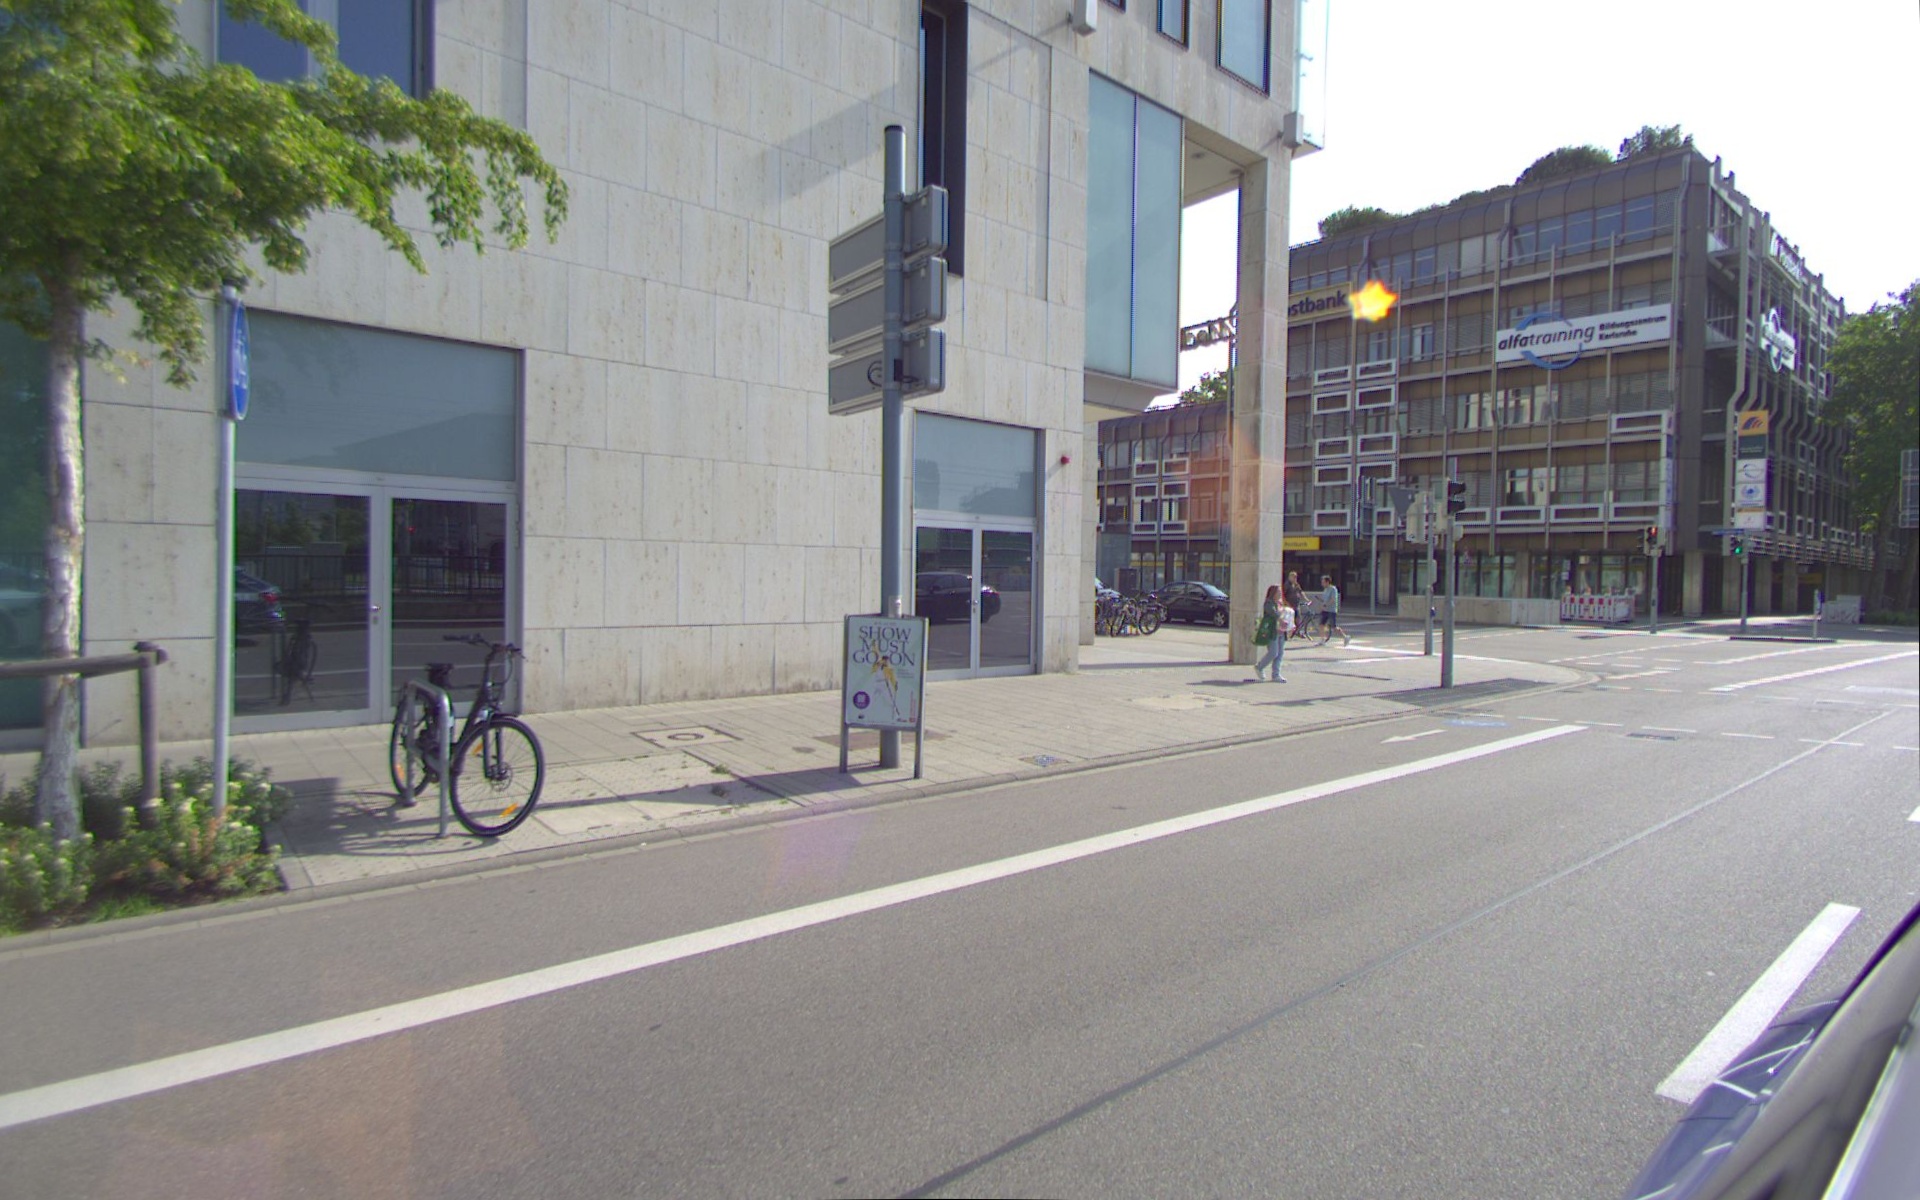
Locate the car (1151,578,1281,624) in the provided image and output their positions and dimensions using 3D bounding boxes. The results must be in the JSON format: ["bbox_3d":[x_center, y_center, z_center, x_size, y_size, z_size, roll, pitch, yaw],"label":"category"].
[{"bbox_3d":[8.386,-0.016,33.453,1.842,1.383,3.906,-1,2,-36],"label":"car"}]

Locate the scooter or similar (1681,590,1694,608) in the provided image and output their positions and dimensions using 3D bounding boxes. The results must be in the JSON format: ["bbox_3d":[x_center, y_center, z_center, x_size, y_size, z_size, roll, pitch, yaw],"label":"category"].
[{"bbox_3d":[33.948,-0.054,47.228,0.942,0.853,0.279,0,1,-40],"label":"scooter or similar"}]

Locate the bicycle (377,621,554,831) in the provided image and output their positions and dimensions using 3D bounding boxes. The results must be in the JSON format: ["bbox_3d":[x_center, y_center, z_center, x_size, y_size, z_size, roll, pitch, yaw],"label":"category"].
[{"bbox_3d":[-3.255,0.719,6.570,0.674,1.127,1.844,0,0,-38],"label":"bicycle"}]

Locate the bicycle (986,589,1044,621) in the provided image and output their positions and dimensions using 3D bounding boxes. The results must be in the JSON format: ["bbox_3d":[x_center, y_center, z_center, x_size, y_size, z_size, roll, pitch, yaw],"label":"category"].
[{"bbox_3d":[1.692,0.145,30.905,1.819,0.968,0.460,0,1,-31],"label":"bicycle"}]

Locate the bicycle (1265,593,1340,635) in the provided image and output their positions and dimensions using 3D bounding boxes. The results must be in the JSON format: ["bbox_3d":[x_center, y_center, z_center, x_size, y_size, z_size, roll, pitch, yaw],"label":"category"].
[{"bbox_3d":[8.968,0.348,26.541,0.601,1.030,1.806,0,2,-40],"label":"bicycle"}]

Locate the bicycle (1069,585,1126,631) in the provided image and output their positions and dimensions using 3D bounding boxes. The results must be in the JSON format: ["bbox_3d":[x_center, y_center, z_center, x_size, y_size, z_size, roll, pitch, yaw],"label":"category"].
[{"bbox_3d":[3.786,0.199,27.746,1.762,1.214,0.501,-1,2,-42],"label":"bicycle"}]

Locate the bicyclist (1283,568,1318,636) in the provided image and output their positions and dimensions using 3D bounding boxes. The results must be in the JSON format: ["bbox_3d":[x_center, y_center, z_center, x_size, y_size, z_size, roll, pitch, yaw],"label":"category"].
[{"bbox_3d":[8.934,0.033,26.581,0.572,1.759,0.636,0,1,-40],"label":"bicyclist"}]

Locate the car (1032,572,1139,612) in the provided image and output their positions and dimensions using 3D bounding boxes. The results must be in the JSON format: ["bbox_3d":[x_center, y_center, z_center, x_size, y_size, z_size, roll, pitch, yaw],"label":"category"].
[{"bbox_3d":[4.699,-0.327,38.325,1.843,1.420,3.914,0,2,-35],"label":"car"}]

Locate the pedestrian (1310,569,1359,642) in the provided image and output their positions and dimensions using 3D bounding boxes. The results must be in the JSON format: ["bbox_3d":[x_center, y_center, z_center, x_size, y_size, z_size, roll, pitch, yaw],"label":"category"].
[{"bbox_3d":[9.104,0.116,24.591,0.970,1.732,0.645,0,1,-32],"label":"pedestrian"}]

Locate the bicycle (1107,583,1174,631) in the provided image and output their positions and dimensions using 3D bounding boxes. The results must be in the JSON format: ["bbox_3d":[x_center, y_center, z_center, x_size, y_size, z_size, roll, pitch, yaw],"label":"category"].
[{"bbox_3d":[4.968,0.178,27.799,2.032,1.252,0.614,-1,2,-39],"label":"bicycle"}]

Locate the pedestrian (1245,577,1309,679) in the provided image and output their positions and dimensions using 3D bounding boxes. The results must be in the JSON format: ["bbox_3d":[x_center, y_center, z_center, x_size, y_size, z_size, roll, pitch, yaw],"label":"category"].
[{"bbox_3d":[4.849,0.414,15.502,0.594,1.506,0.709,0,1,-39],"label":"pedestrian"}]
